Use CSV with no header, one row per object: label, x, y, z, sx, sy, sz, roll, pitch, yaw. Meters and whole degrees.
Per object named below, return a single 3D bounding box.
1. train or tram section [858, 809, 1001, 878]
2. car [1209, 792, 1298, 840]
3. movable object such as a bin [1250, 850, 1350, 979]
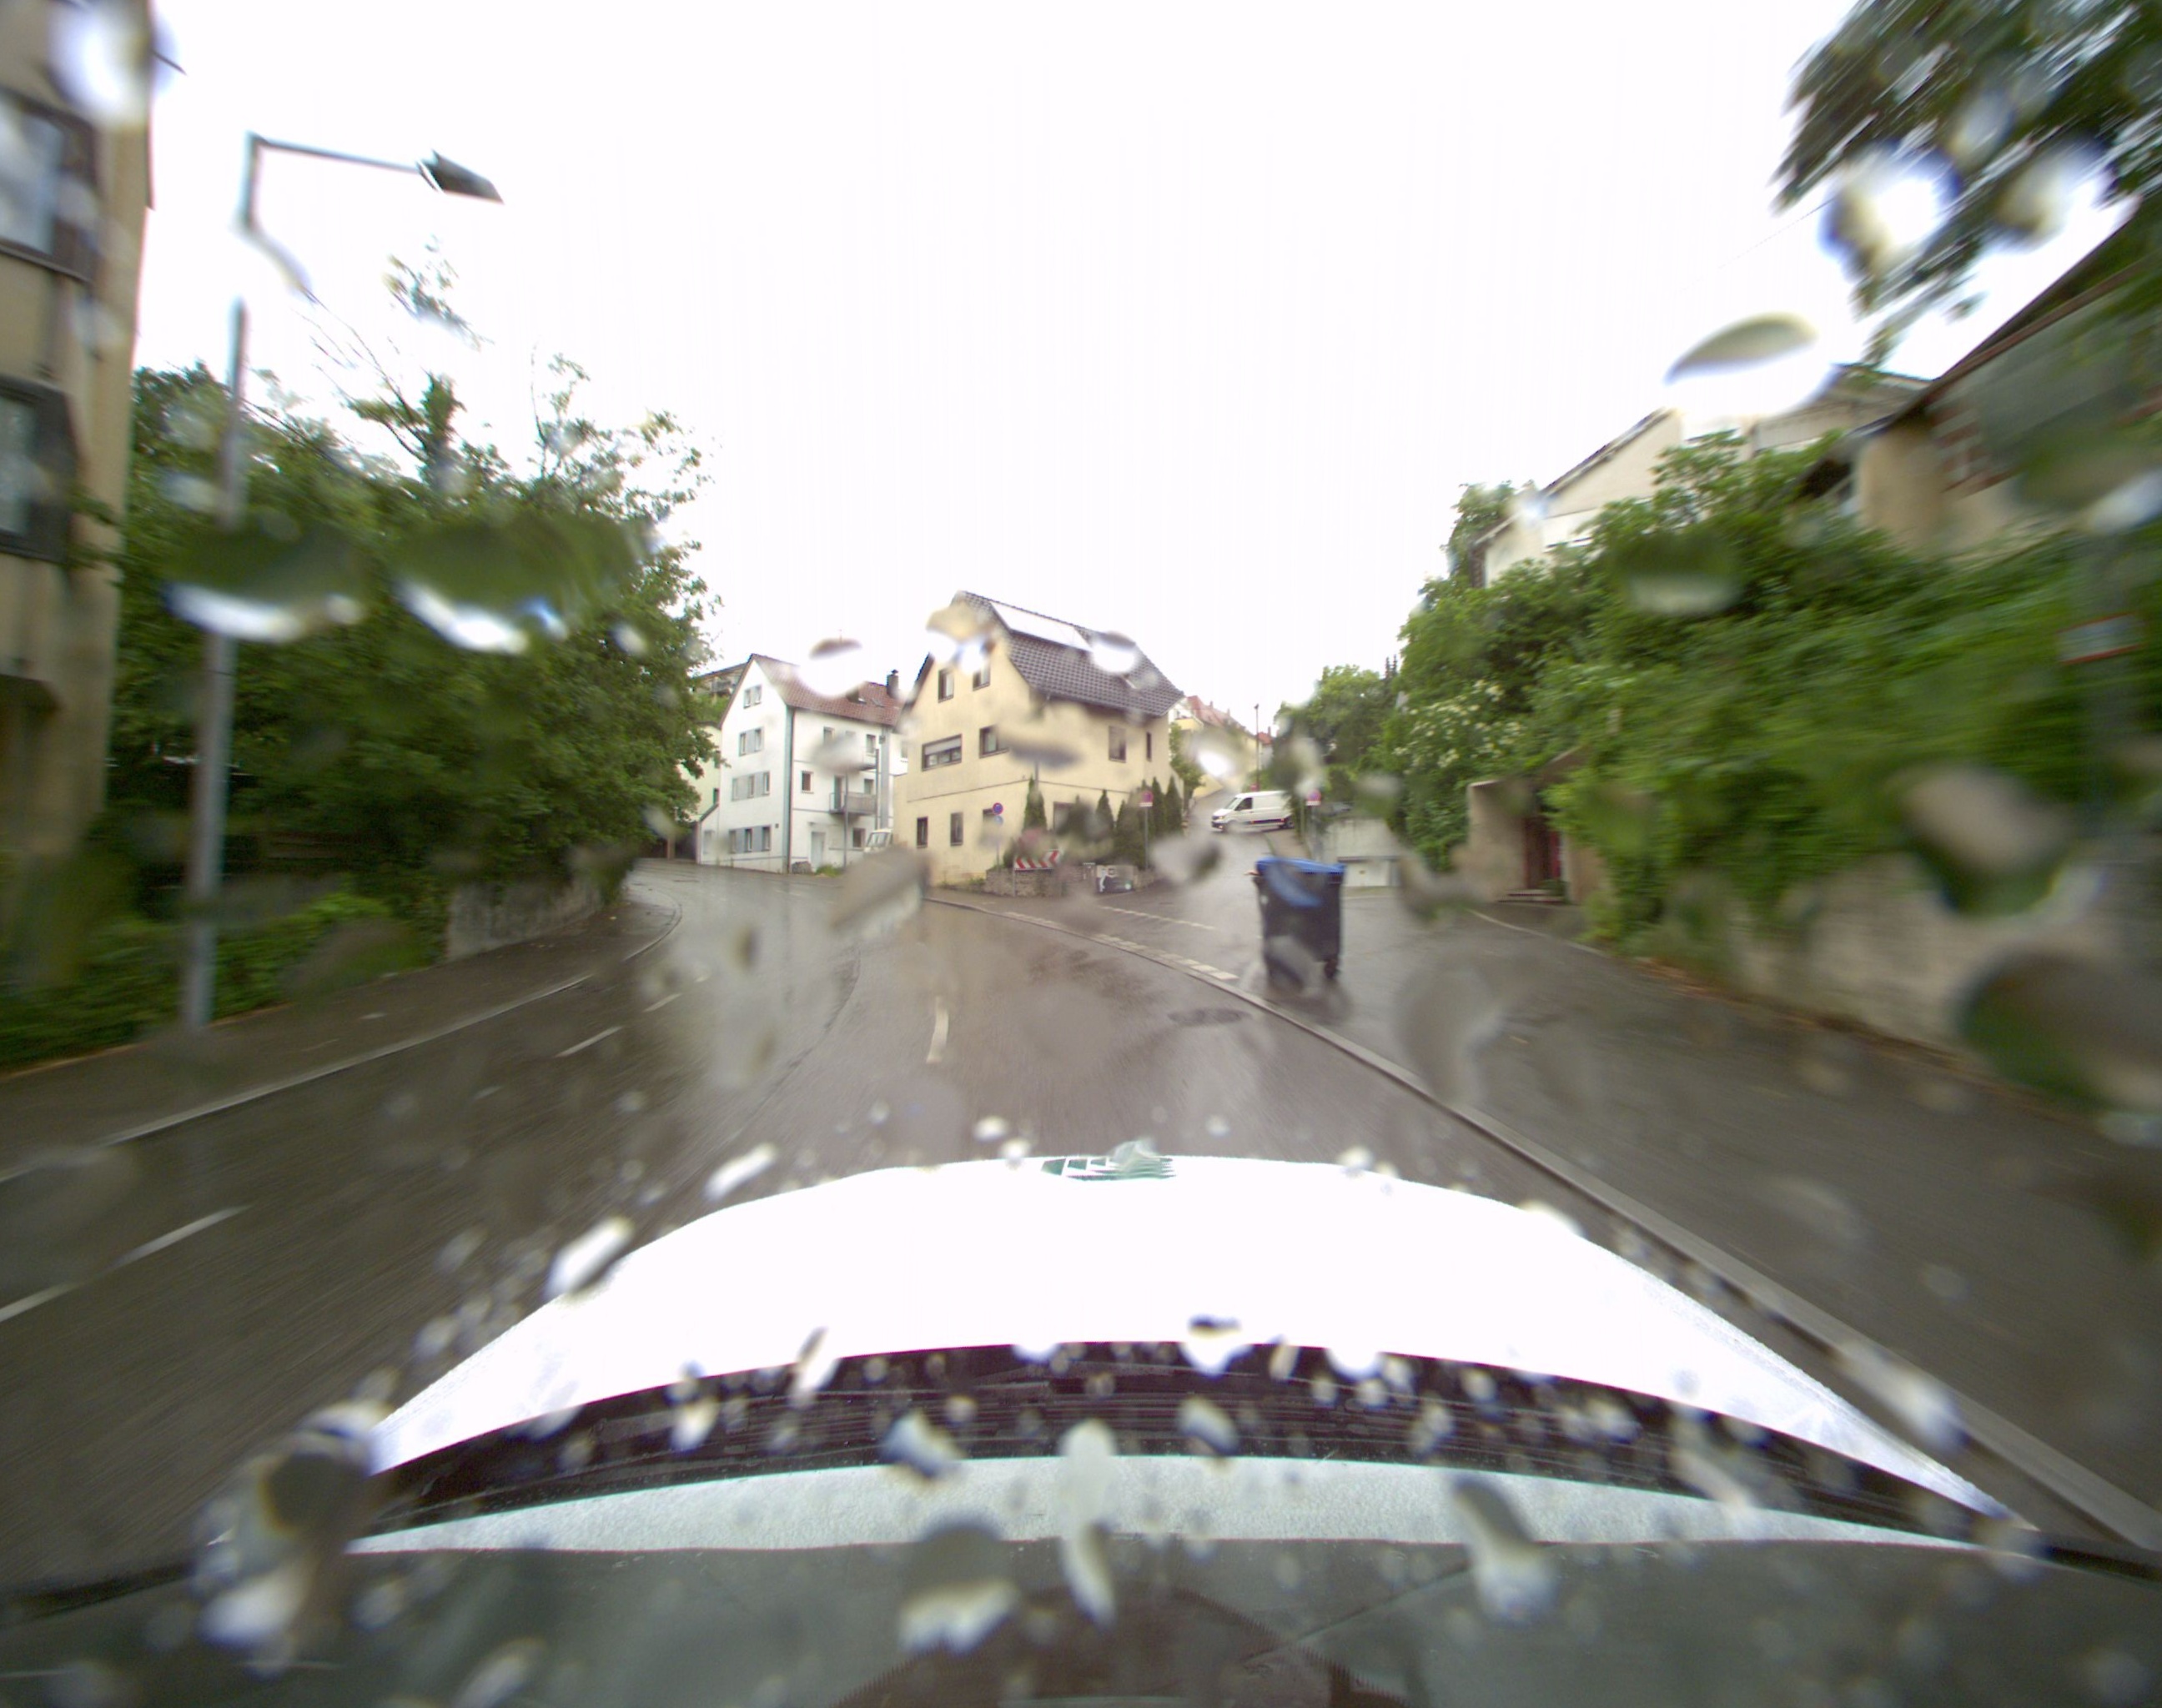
train or tram section,-7.451,-0.498,40.856,2.336,3.203,6.911,-2,-1,44
car,10.602,-2.334,50.254,4.931,2.569,1.902,-3,-1,-3
movable object such as a bin,2.625,0.686,9.935,1.074,1.442,1.462,0,-1,12
